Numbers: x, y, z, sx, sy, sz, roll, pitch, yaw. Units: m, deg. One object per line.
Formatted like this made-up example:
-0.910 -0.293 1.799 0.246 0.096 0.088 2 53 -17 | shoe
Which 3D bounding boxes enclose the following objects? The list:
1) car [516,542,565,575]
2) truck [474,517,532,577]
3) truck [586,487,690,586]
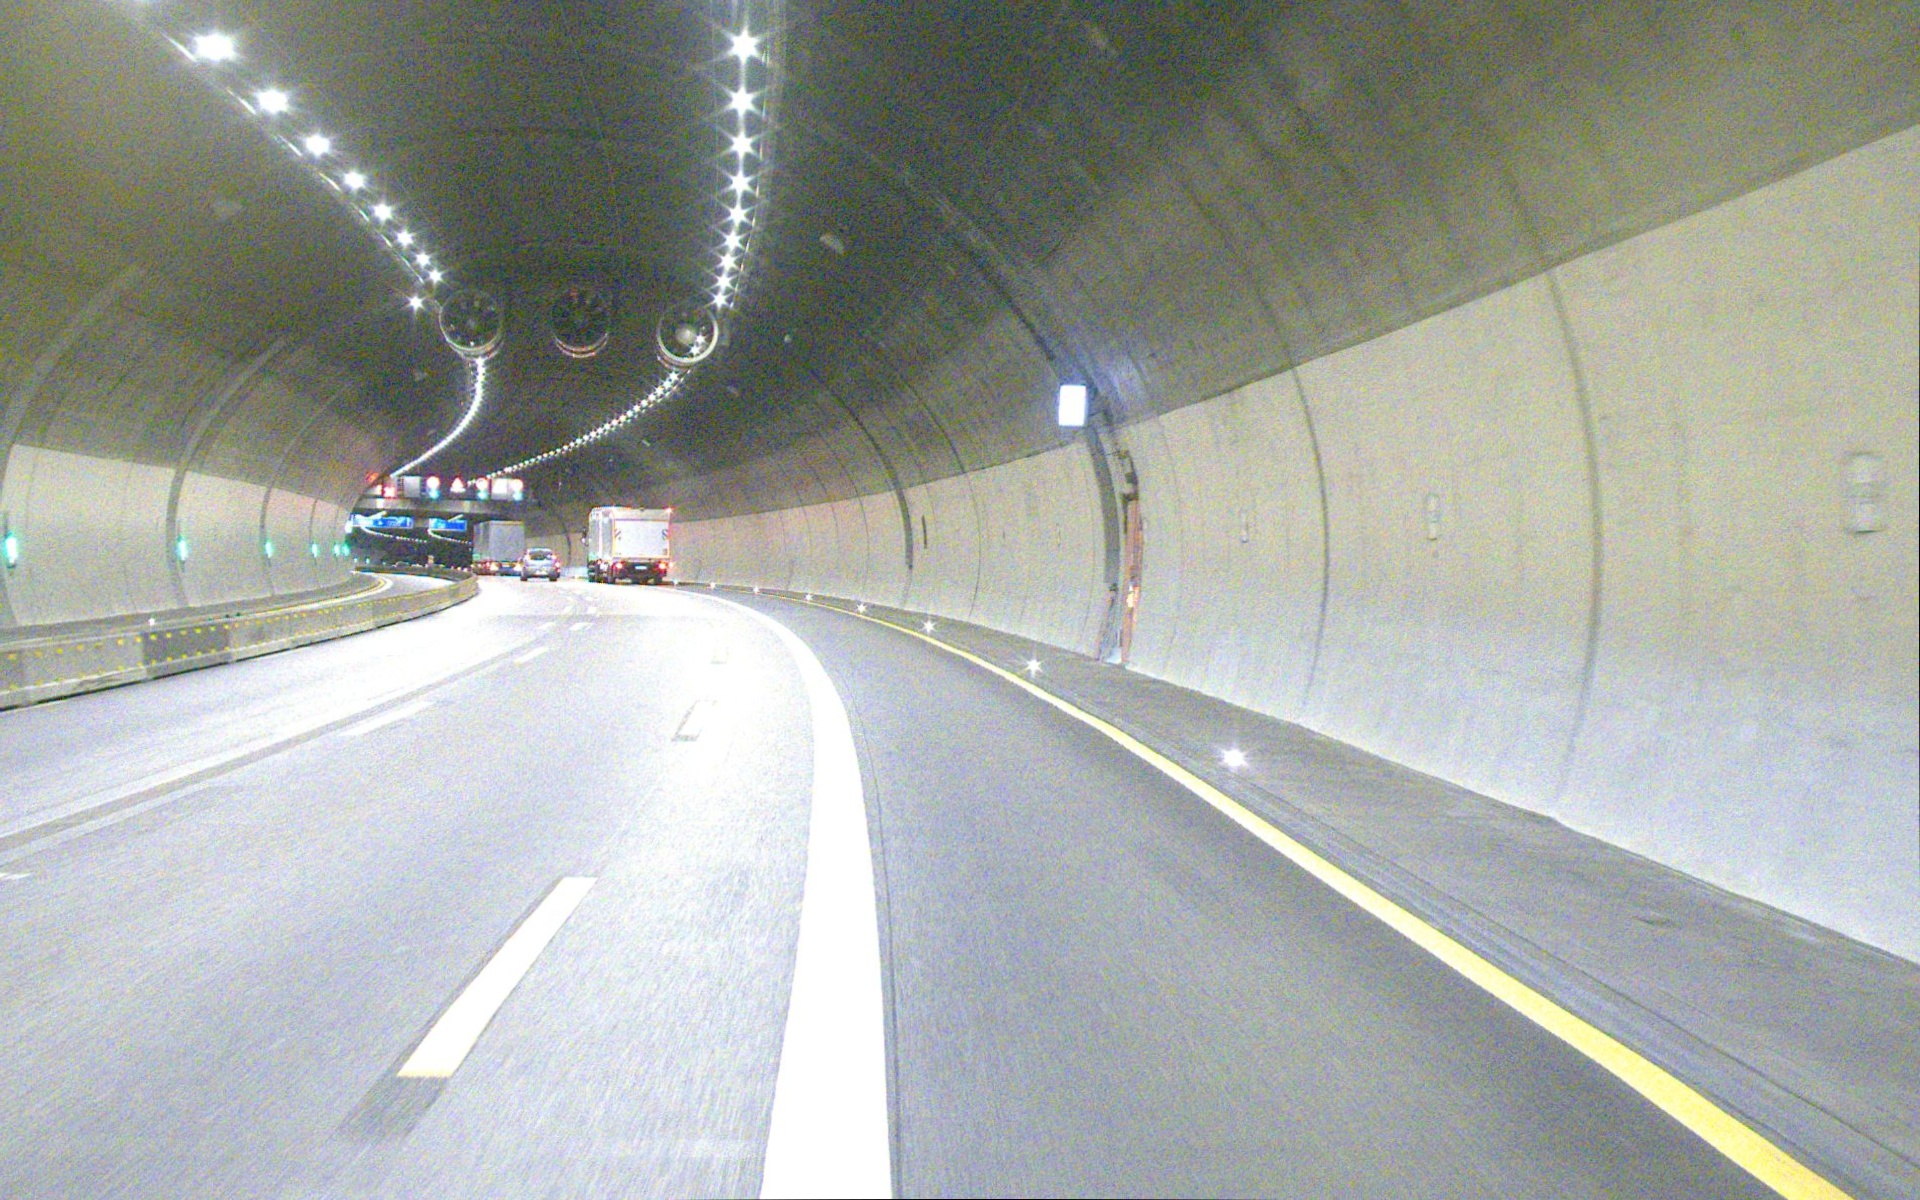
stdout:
-20.878 -2.072 171.076 1.993 1.576 4.001 2 1 -12 | car
-33.974 -3.948 254.998 3.473 4.301 10.955 1 1 -12 | truck
-14.855 -2.922 157.586 3.473 4.301 10.955 1 1 -12 | truck
